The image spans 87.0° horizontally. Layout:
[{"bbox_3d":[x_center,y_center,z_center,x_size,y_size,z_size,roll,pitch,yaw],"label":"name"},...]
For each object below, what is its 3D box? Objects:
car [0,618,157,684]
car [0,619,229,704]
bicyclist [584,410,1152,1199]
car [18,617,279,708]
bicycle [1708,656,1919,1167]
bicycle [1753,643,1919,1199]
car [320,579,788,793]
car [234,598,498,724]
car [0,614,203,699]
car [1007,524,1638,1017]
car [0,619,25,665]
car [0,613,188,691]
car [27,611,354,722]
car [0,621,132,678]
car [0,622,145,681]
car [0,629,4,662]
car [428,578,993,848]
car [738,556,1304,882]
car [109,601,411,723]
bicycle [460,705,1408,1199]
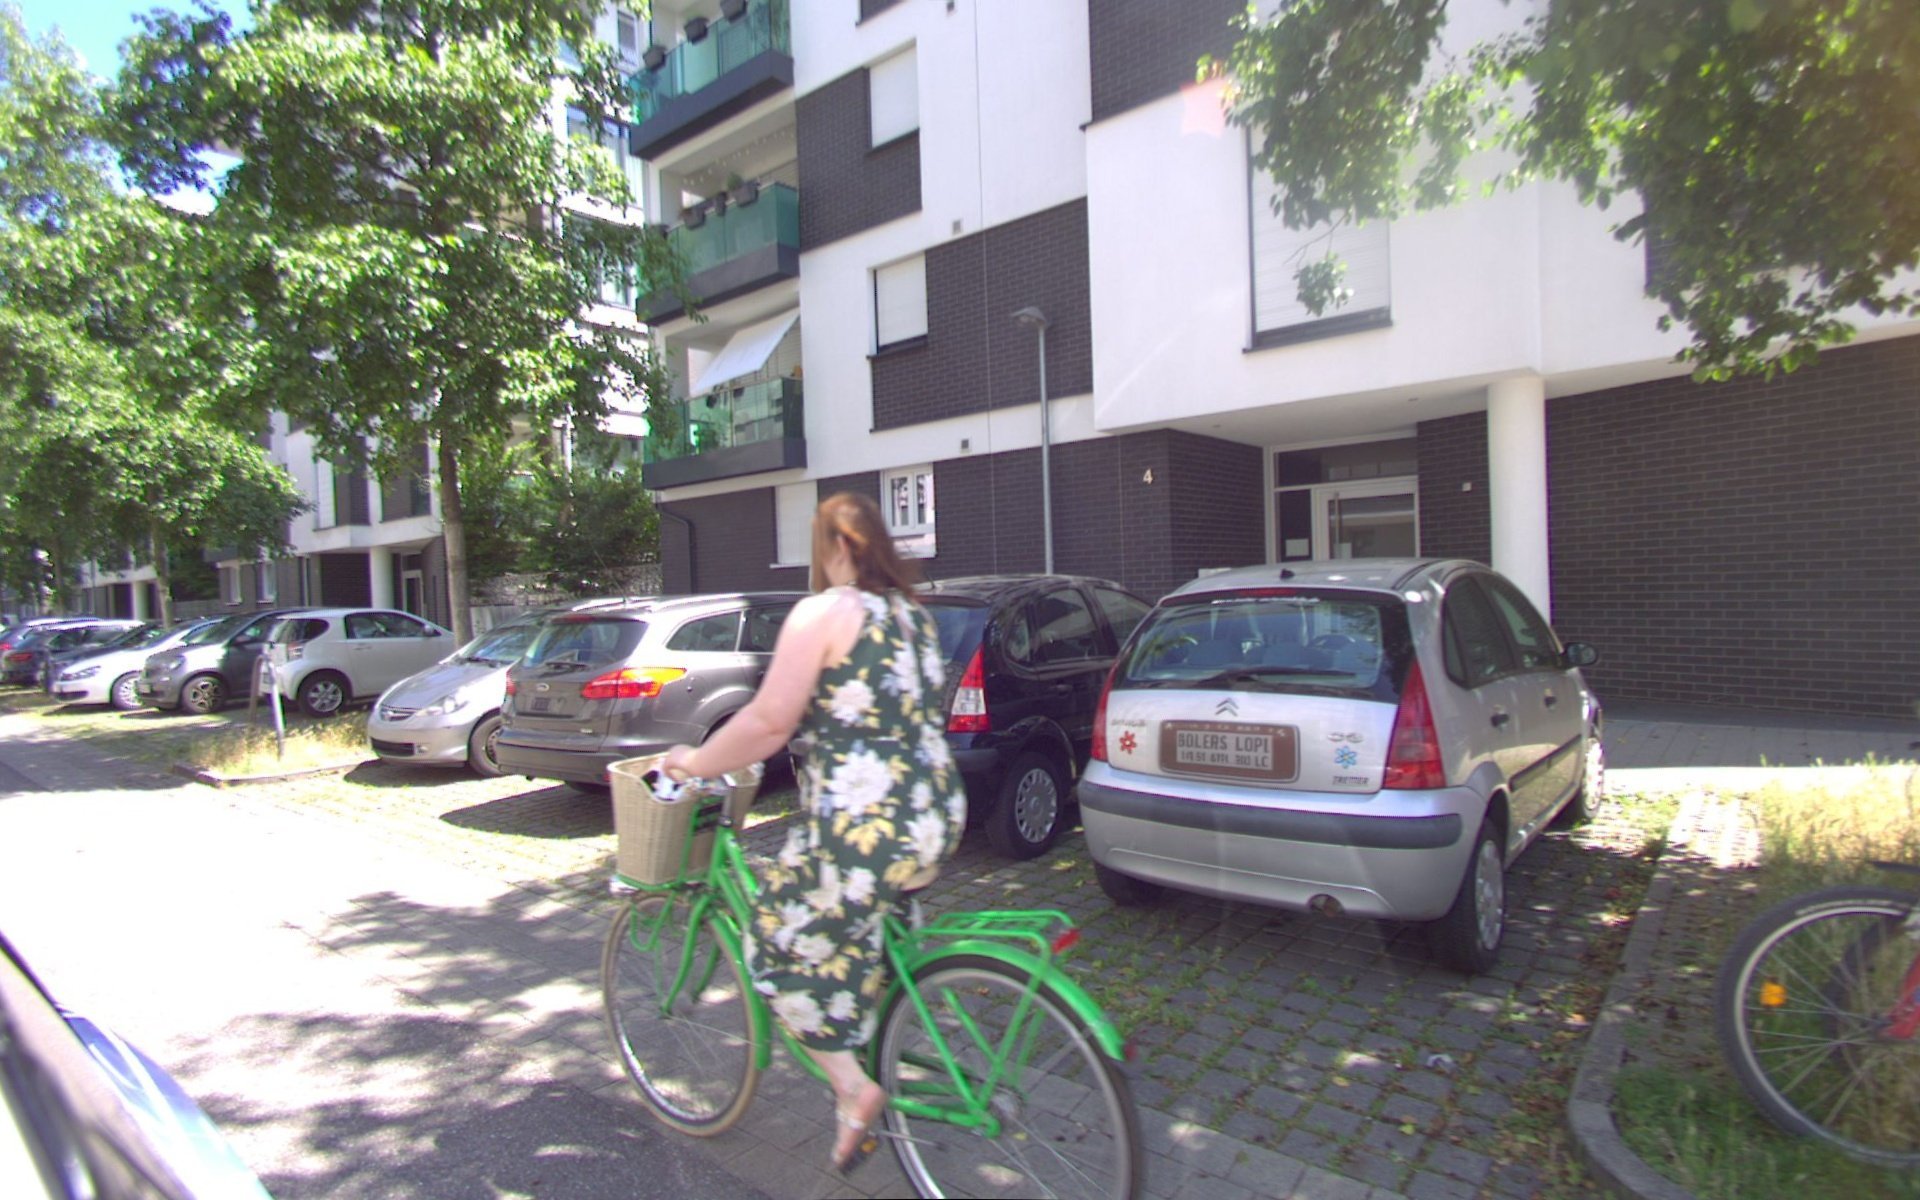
[{"bbox_3d":[-26.243,1.477,29.614,1.882,1.603,3.947,-2,1,40],"label":"car"},{"bbox_3d":[-18.992,1.295,22.582,1.772,1.456,3.939,-2,2,36],"label":"car"},{"bbox_3d":[-0.177,0.425,2.274,0.799,1.470,0.944,-2,0,39],"label":"bicyclist"},{"bbox_3d":[-16.906,1.235,21.220,1.896,1.432,3.947,-2,2,41],"label":"car"},{"bbox_3d":[2.876,0.698,2.165,1.969,1.136,0.431,-2,-1,29],"label":"bicycle"},{"bbox_3d":[2.667,0.676,1.872,1.812,1.189,0.368,-2,-1,29],"label":"bicycle"},{"bbox_3d":[-3.863,0.683,10.166,1.870,1.565,3.899,-2,1,39],"label":"car"},{"bbox_3d":[-8.904,0.846,15.293,1.846,1.511,2.905,-2,2,39],"label":"car"},{"bbox_3d":[-20.935,1.299,24.381,1.917,1.663,3.946,-2,1,42],"label":"car"},{"bbox_3d":[2.080,0.463,5.106,1.830,1.532,3.594,-2,2,40],"label":"car"},{"bbox_3d":[-46.937,2.052,46.773,2.186,2.126,5.286,-2,0,42],"label":"car"},{"bbox_3d":[-22.700,1.298,26.206,1.932,1.641,3.948,-2,2,40],"label":"car"},{"bbox_3d":[-13.594,1.076,18.115,1.997,1.723,4.319,-2,-2,37],"label":"car"},{"bbox_3d":[-29.934,1.628,32.995,1.923,1.529,4.211,-2,2,39],"label":"car"},{"bbox_3d":[-28.153,1.588,31.315,1.791,1.487,4.274,-2,2,40],"label":"car"},{"bbox_3d":[-44.941,2.179,44.801,1.676,1.492,3.588,-2,2,39],"label":"car"},{"bbox_3d":[-1.721,0.637,8.217,1.955,1.497,4.143,-1,2,36],"label":"car"},{"bbox_3d":[0.660,0.565,6.947,1.800,1.566,3.945,-2,-1,42],"label":"car"},{"bbox_3d":[-11.507,0.929,16.856,1.816,1.597,3.677,-2,2,35],"label":"car"},{"bbox_3d":[-0.198,0.890,2.281,2.038,1.137,0.889,-2,0,40],"label":"bicycle"}]
